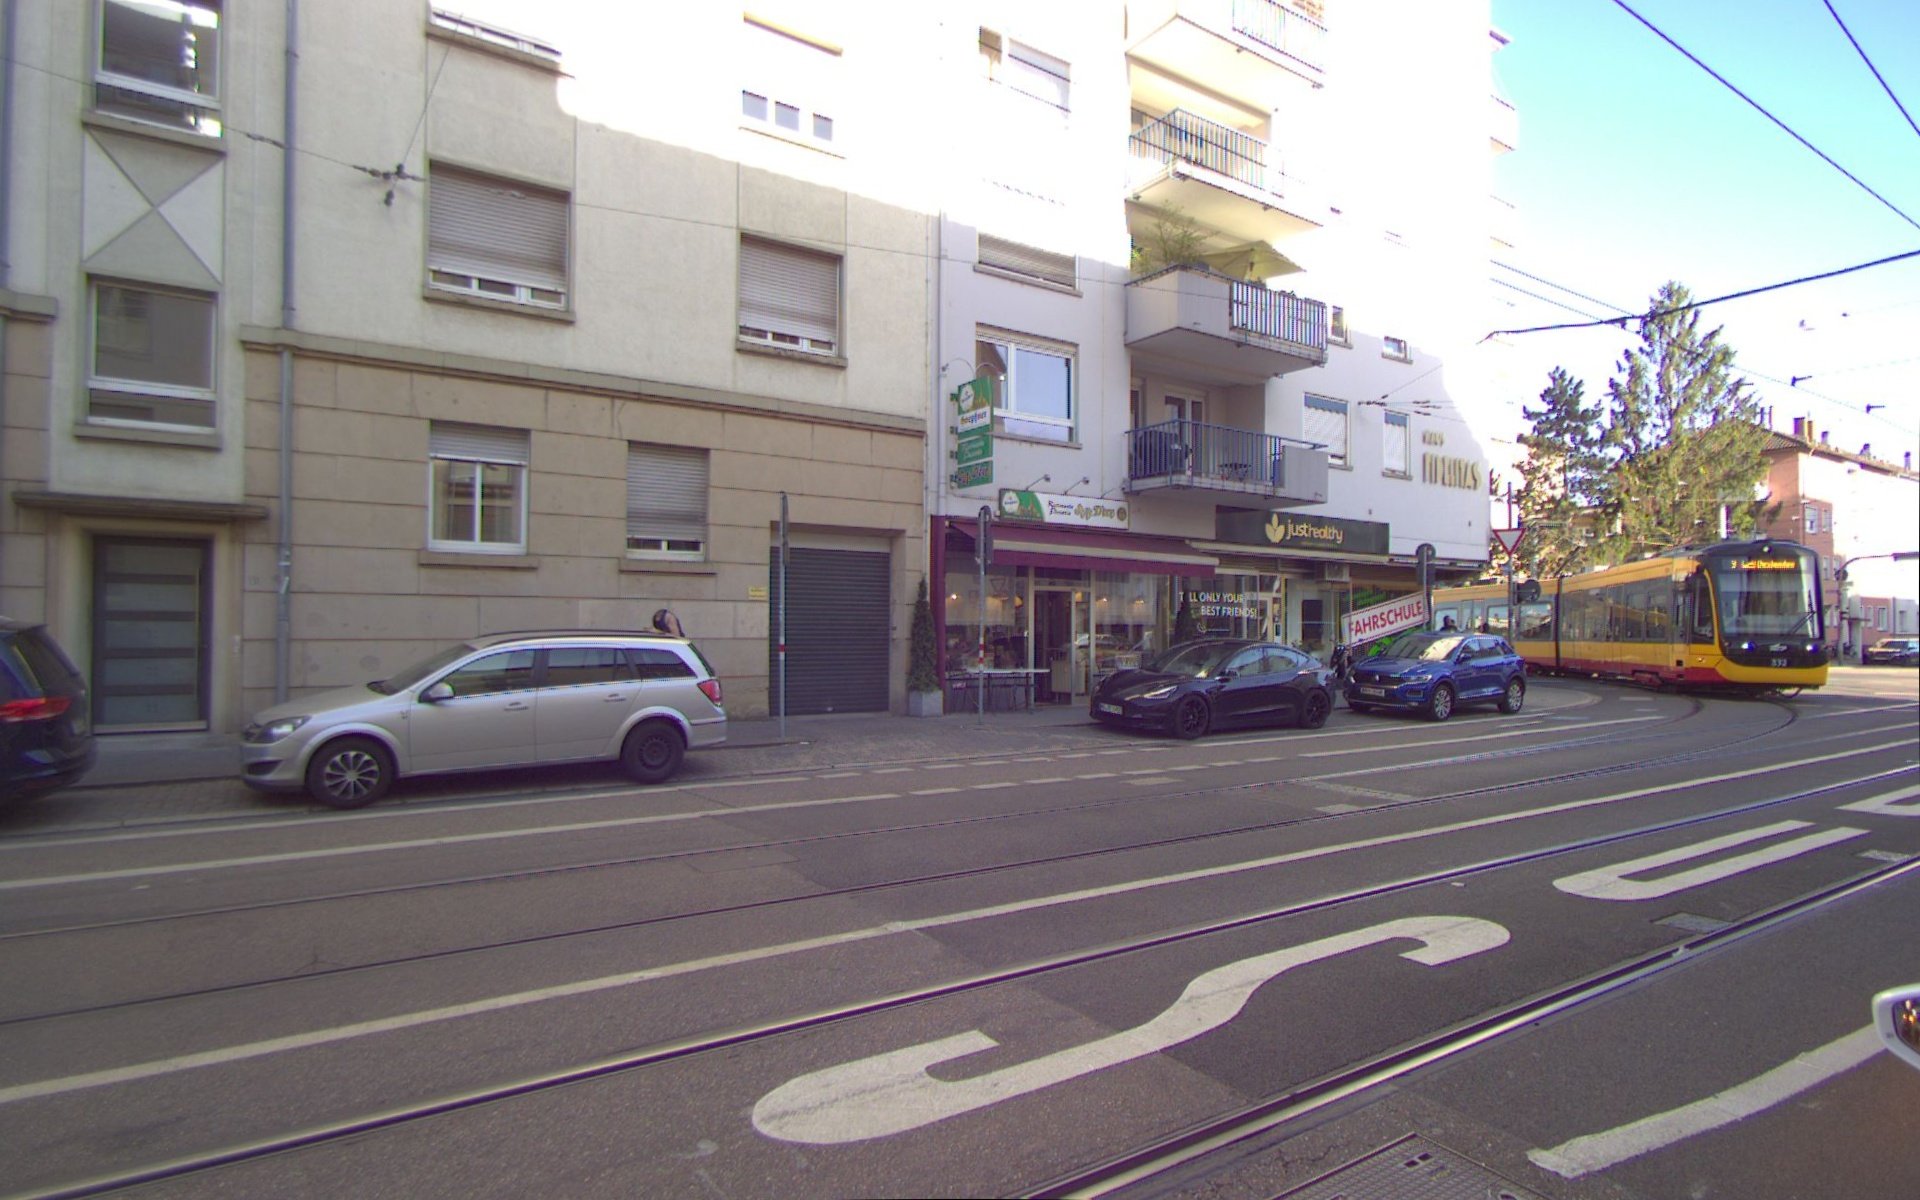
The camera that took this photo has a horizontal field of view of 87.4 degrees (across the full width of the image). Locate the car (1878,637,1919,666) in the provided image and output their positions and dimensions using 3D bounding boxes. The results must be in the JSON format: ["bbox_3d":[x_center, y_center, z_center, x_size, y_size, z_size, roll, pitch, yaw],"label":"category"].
[{"bbox_3d":[53.295,2.880,56.105,4.250,1.518,1.806,2,0,-30],"label":"car"}]

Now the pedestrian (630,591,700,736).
[{"bbox_3d":[-3.914,0.828,13.317,0.725,1.857,0.595,2,0,-30],"label":"pedestrian"}]

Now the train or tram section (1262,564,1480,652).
[{"bbox_3d":[19.690,0.332,49.875,2.704,3.680,14.238,2,0,-10],"label":"train or tram section"}]

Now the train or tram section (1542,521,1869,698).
[{"bbox_3d":[19.060,0.423,27.118,3.011,3.641,12.635,-1,-2,17],"label":"train or tram section"}]

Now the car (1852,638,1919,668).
[{"bbox_3d":[49.579,2.825,53.650,3.949,1.440,1.784,2,0,-31],"label":"car"}]

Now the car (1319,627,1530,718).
[{"bbox_3d":[8.883,1.308,19.128,4.030,1.552,1.858,1,-2,-34],"label":"car"}]

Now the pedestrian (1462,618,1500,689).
[{"bbox_3d":[13.675,1.393,26.374,0.691,1.829,0.568,2,0,-30],"label":"pedestrian"}]

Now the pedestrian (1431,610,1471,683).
[{"bbox_3d":[13.985,1.316,28.610,0.688,2.040,0.764,2,0,-35],"label":"pedestrian"}]

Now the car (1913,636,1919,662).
[{"bbox_3d":[58.261,2.958,59.399,4.103,1.531,1.778,2,0,-31],"label":"car"}]

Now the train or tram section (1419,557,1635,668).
[{"bbox_3d":[21.099,0.432,38.231,2.779,3.679,9.081,2,0,-2],"label":"train or tram section"}]

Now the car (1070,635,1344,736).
[{"bbox_3d":[4.014,1.268,16.078,4.382,1.405,1.810,1,-2,-34],"label":"car"}]

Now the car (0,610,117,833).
[{"bbox_3d":[-8.999,0.865,7.248,4.249,1.606,1.893,2,0,-35],"label":"car"}]

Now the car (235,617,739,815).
[{"bbox_3d":[-4.705,1.030,10.323,4.319,1.580,1.981,2,0,-34],"label":"car"}]
